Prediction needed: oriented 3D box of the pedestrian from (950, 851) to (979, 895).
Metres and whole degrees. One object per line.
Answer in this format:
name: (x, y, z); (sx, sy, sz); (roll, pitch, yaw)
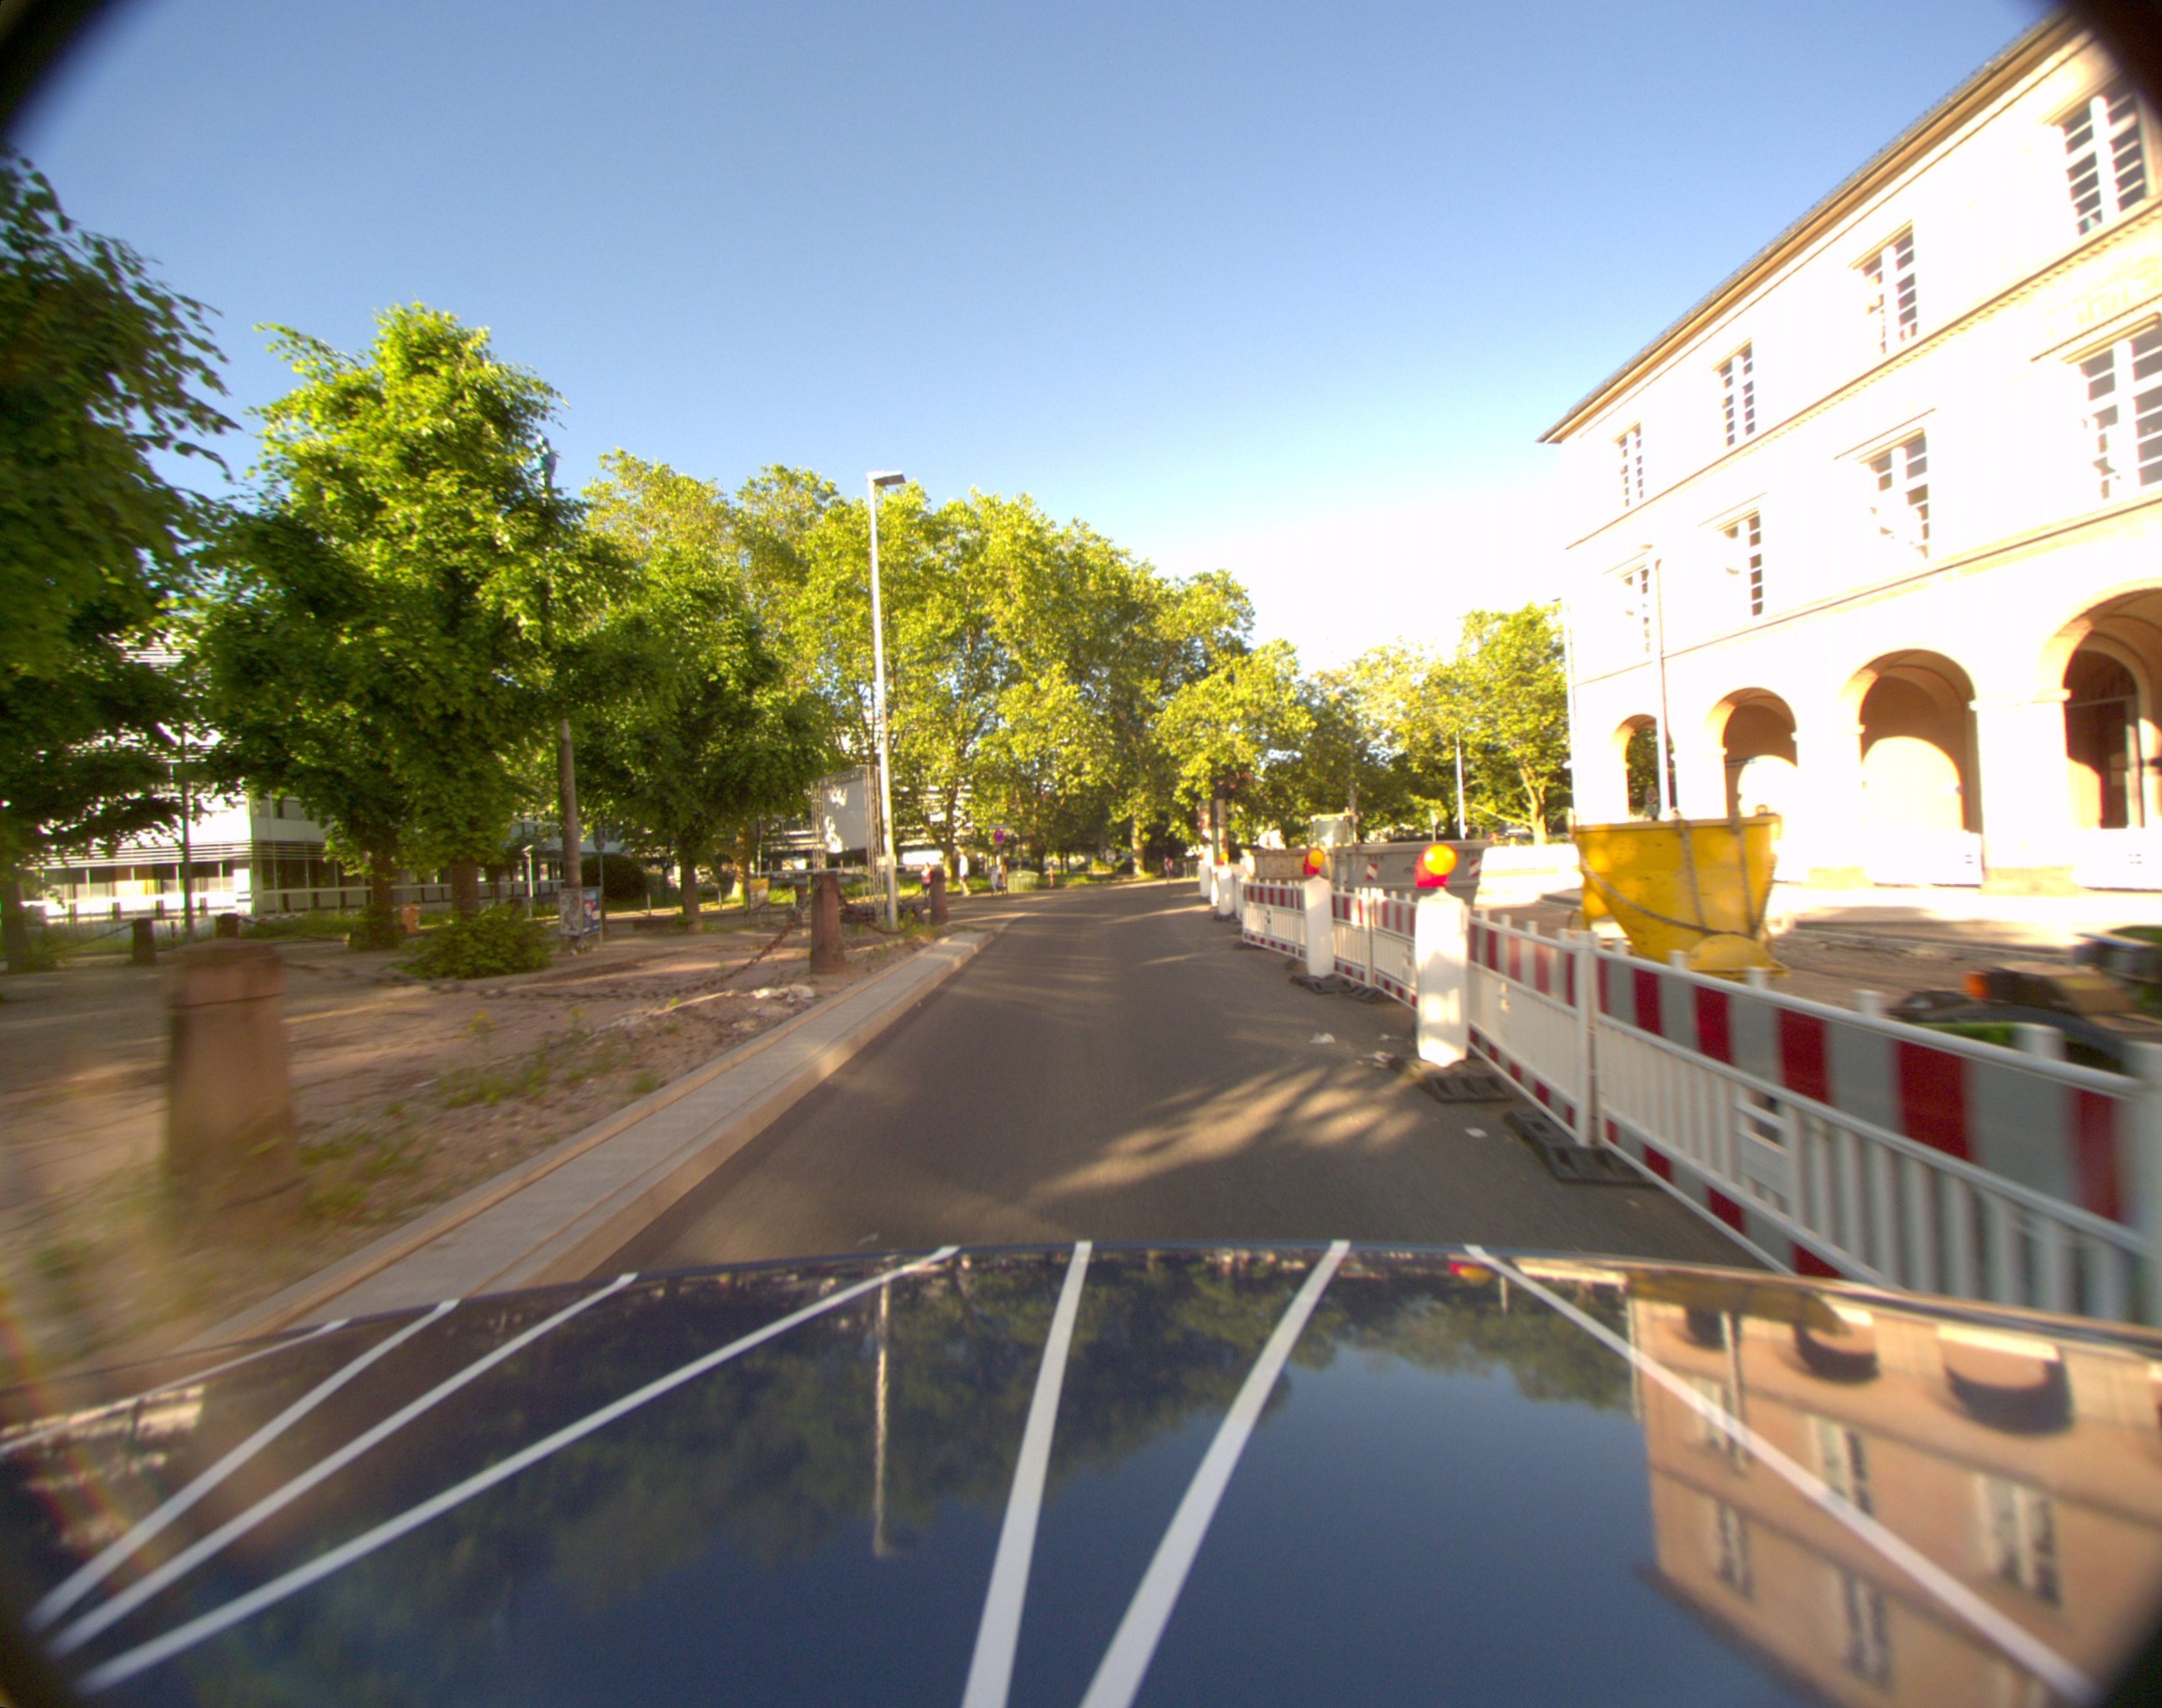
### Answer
pedestrian: (-5.063, 0.832, 32.906); (1.134, 1.801, 0.747); (-3, -1, -11)

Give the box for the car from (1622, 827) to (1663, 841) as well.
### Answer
car: (67.042, -2.422, 90.780); (1.630, 1.476, 3.847); (-3, 0, -10)

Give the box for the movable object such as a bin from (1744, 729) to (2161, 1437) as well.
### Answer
movable object such as a bin: (3.865, 0.573, 1.185); (2.054, 1.937, 4.337); (-3, -1, 5)

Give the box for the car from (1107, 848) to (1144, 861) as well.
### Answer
car: (6.023, 0.077, 102.398); (4.656, 1.466, 2.013); (-2, -1, -8)

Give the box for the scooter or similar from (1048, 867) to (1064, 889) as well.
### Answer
scooter or similar: (-1.155, 1.079, 34.692); (0.420, 0.909, 1.149); (-4, 2, -15)

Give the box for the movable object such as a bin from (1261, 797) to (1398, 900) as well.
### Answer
movable object such as a bin: (8.478, -0.228, 25.480); (2.560, 3.014, 5.942); (-2, 1, 36)

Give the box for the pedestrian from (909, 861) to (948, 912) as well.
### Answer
pedestrian: (-5.021, 1.064, 24.986); (0.940, 1.614, 0.709); (-4, 1, -39)
